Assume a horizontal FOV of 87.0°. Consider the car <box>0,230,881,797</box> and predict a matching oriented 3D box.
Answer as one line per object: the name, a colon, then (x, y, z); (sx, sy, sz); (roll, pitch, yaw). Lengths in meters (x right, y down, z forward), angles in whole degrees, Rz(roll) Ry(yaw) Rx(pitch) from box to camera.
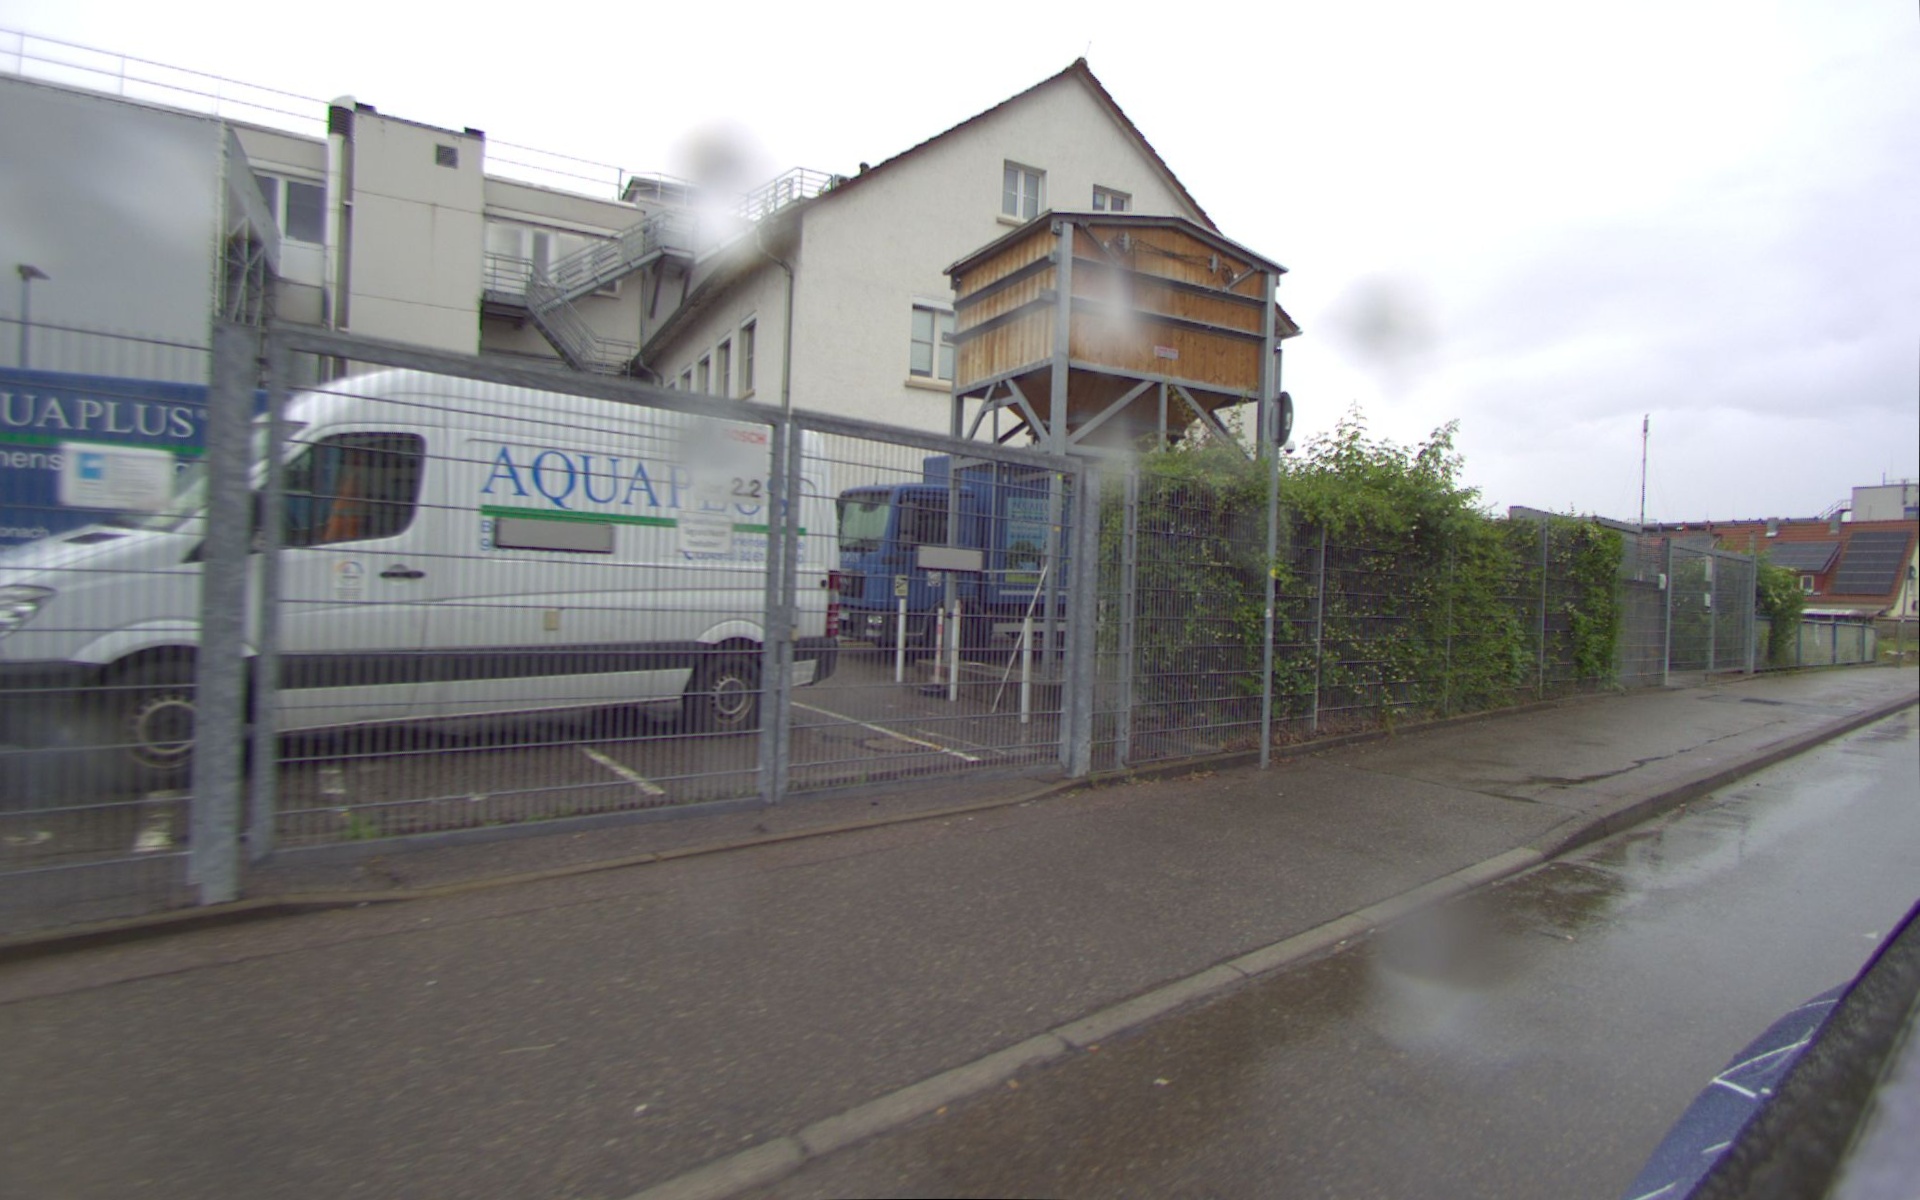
car: (-3.480, -0.419, 7.537); (1.994, 2.717, 5.859); (4, 2, 43)
